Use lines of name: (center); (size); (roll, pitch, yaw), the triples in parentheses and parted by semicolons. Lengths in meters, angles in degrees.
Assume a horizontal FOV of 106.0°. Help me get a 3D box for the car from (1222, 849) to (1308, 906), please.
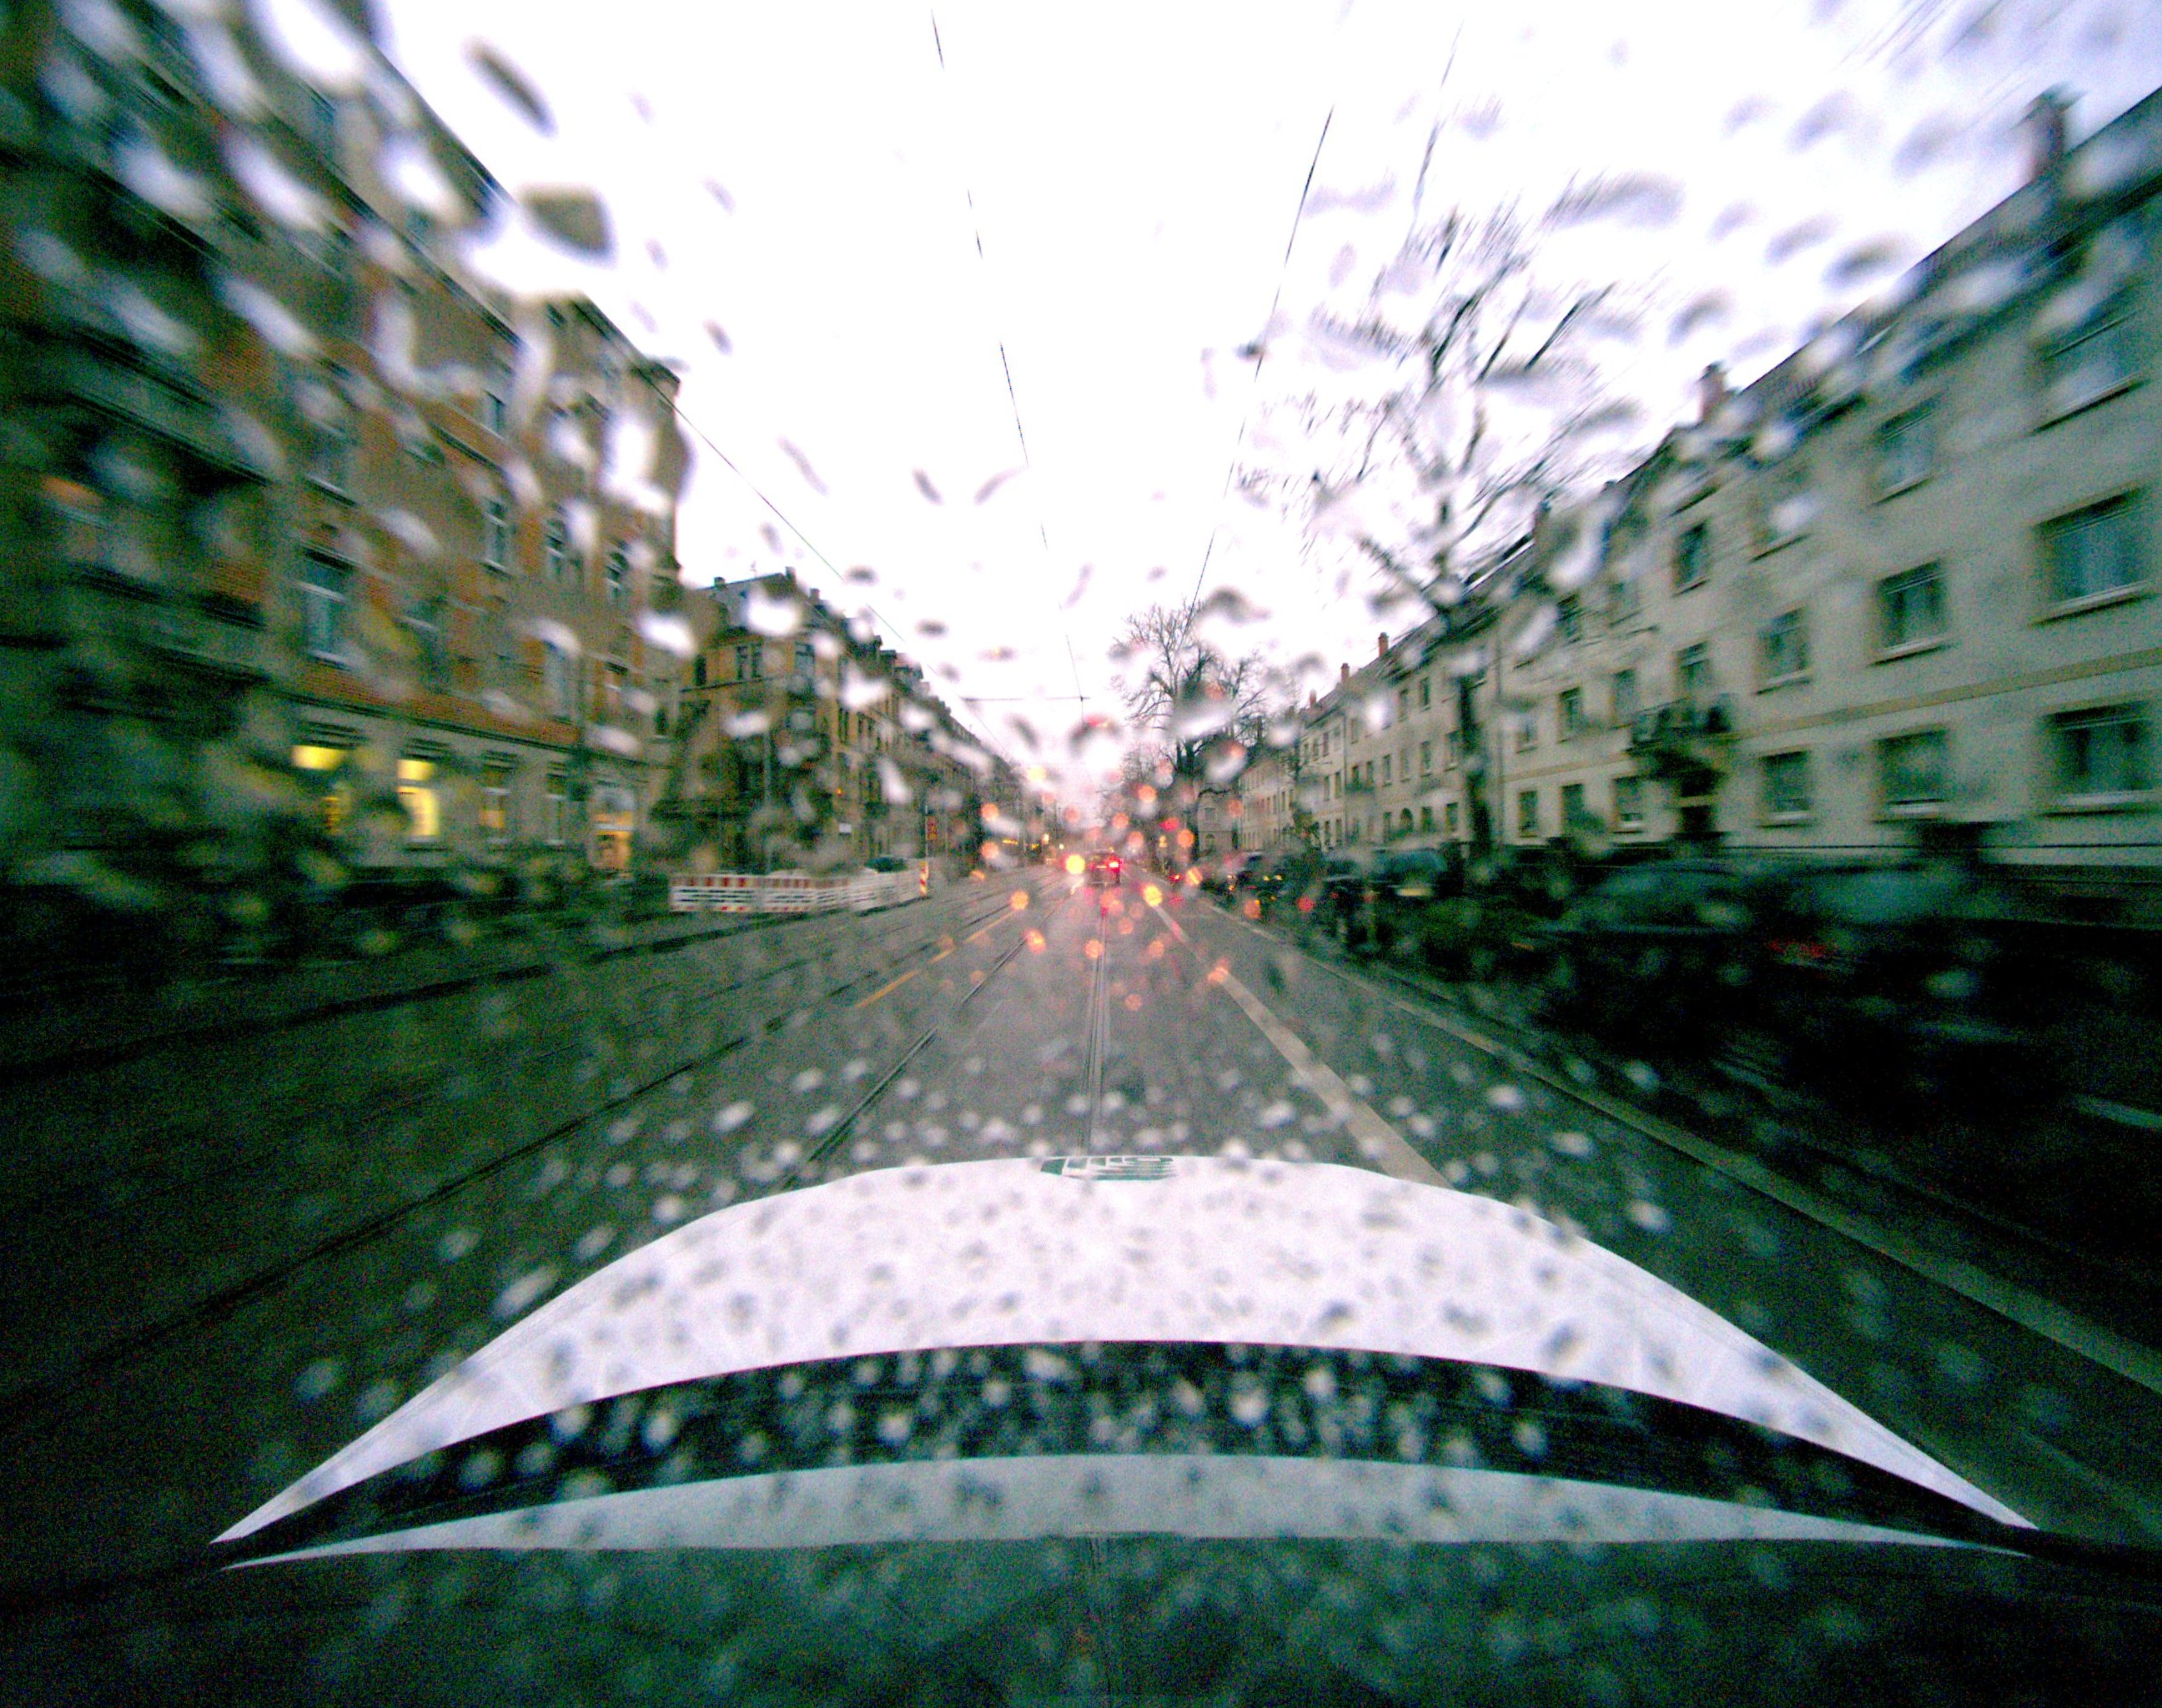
car: (5.763, 0.681, 26.045); (1.897, 1.610, 4.565); (-2, 0, 3)

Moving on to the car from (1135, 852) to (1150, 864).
car: (8.376, 0.547, 111.125); (1.778, 1.509, 4.110); (-2, 0, 2)

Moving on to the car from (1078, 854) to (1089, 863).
car: (0.531, 0.849, 152.272); (1.916, 1.662, 4.002); (-2, 0, 2)

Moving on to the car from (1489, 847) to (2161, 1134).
car: (5.089, 0.743, 6.426); (1.779, 1.509, 3.988); (-2, 0, 1)

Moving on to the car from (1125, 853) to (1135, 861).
car: (9.464, 0.568, 156.685); (1.778, 1.509, 4.110); (-2, 0, 2)

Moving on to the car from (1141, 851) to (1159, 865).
car: (7.900, 0.465, 93.097); (1.778, 1.509, 4.110); (-2, 0, 2)

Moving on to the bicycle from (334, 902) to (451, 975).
bicycle: (-10.535, 1.265, 12.538); (0.262, 0.915, 1.686); (4, 0, 2)

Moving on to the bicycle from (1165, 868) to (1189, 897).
bicycle: (3.574, 1.047, 30.451); (0.728, 1.007, 1.765); (-1, 0, 3)

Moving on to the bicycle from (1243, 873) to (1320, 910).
bicycle: (5.528, 1.033, 22.536); (2.001, 0.916, 0.466); (-2, 0, 10)

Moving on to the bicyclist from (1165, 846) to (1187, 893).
bicyclist: (3.559, 0.581, 30.435); (0.727, 1.736, 0.766); (-1, 0, 3)

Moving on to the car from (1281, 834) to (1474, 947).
car: (5.270, 0.570, 15.283); (1.899, 1.727, 4.903); (-2, 0, 1)

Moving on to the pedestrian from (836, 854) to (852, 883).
pedestrian: (-14.446, 0.888, 49.611); (0.723, 1.773, 0.763); (-1, 0, -28)

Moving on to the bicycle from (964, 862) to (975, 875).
bicycle: (-8.625, 1.119, 63.042); (0.494, 1.007, 1.765); (-1, 0, 3)

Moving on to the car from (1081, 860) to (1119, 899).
car: (1.048, 1.274, 42.485); (1.794, 1.871, 4.022); (1, 0, 3)

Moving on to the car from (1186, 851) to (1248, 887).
car: (6.109, 0.639, 36.980); (1.874, 1.420, 4.340); (-3, 0, -2)

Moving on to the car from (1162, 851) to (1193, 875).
car: (6.485, 0.589, 55.039); (1.778, 1.509, 4.112); (-2, 0, 3)

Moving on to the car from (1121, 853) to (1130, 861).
car: (9.201, 0.650, 169.980); (1.778, 1.509, 4.110); (-2, 0, 2)
